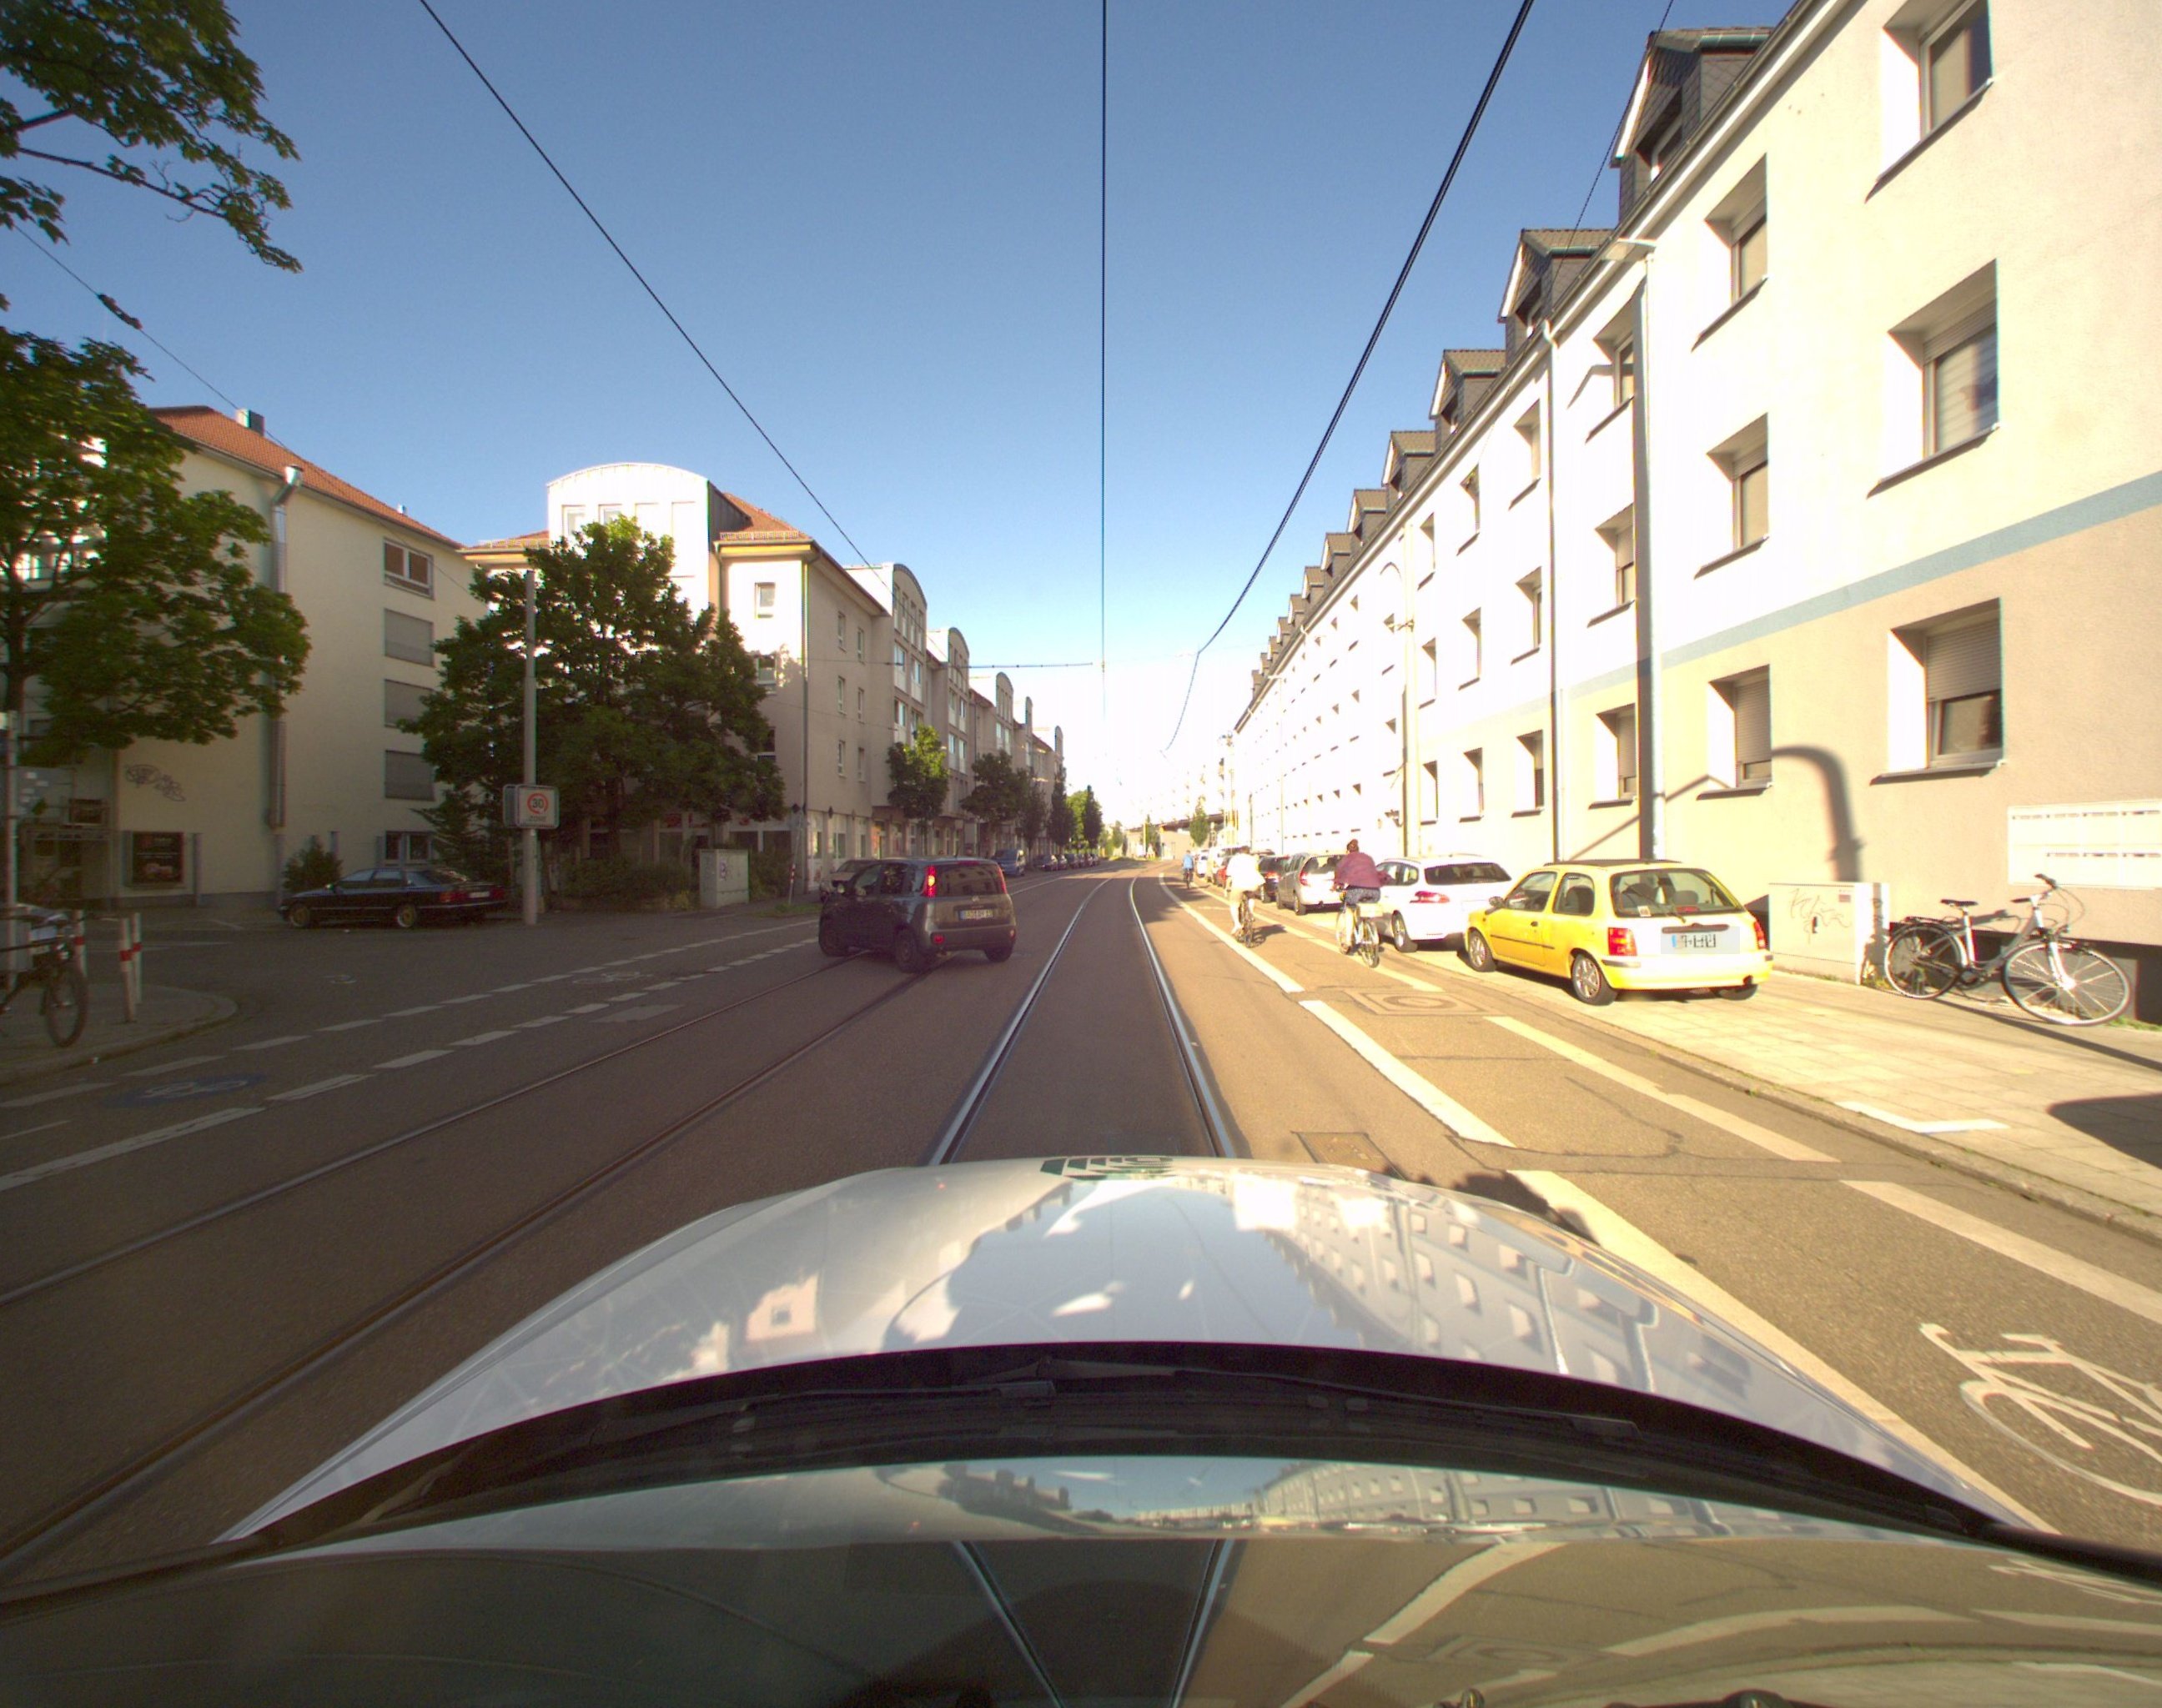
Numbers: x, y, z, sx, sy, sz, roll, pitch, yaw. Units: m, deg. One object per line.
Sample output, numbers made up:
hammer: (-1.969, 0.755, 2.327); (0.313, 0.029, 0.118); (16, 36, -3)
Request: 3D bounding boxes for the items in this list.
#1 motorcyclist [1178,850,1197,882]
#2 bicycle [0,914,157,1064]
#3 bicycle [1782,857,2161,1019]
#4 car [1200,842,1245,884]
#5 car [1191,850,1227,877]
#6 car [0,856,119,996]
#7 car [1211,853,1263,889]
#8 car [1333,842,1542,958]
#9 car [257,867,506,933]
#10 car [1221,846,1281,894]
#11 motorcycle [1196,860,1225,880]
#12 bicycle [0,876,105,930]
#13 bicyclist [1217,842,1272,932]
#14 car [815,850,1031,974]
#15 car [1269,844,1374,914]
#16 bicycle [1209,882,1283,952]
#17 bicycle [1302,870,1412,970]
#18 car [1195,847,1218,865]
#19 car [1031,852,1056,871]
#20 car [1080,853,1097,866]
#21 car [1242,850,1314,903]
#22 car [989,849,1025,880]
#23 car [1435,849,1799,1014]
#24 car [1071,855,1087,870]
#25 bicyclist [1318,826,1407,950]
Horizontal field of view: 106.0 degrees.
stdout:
motorcyclist: (4.778, 0.522, 36.592); (0.725, 1.405, 1.021); (-1, 0, 1)
bicycle: (-8.581, 1.053, 6.475); (1.868, 1.084, 0.596); (-1, 0, 3)
bicycle: (7.878, 0.645, 7.367); (1.092, 1.197, 2.328); (-1, 0, 1)
car: (7.150, 0.434, 41.548); (1.779, 1.970, 4.159); (-2, 0, 4)
car: (8.306, 0.598, 53.067); (1.836, 1.646, 4.553); (-1, 0, 3)
car: (-15.173, 0.938, 10.253); (3.968, 1.659, 1.912); (-1, 2, 4)
car: (6.992, 0.726, 36.832); (1.788, 1.483, 3.782); (-1, 0, 3)
car: (5.729, 0.640, 13.753); (1.673, 1.571, 4.512); (-2, 0, 2)
car: (-16.119, 1.047, 18.878); (4.531, 1.388, 1.717); (-1, -1, 6)
car: (6.559, 0.577, 31.791); (1.653, 1.669, 3.907); (-4, 0, 3)
motorcycle: (7.475, 0.912, 47.101); (0.494, 1.144, 1.751); (-1, 0, -37)
bicycle: (-26.513, 1.233, 20.888); (0.724, 1.165, 1.981); (-1, 3, -8)
bicyclist: (2.751, 0.532, 13.792); (0.725, 1.462, 1.021); (-1, 0, 1)
car: (-2.397, 0.742, 11.841); (1.570, 1.533, 3.445); (1, -1, -41)
car: (6.228, 0.598, 21.515); (1.747, 1.571, 3.908); (-4, 0, 4)
bicycle: (2.730, 1.015, 13.832); (0.736, 0.924, 2.837); (2, 0, 2)
bicycle: (3.908, 0.880, 11.774); (0.818, 1.236, 2.463); (1, 0, 2)
car: (12.428, 0.170, 81.107); (1.836, 1.756, 4.553); (-1, 0, 3)
car: (-3.253, 0.606, 70.705); (1.657, 1.618, 4.005); (-1, 0, 4)
car: (0.964, 0.656, 100.510); (1.836, 1.646, 3.701); (-1, 0, 3)
car: (6.351, 0.673, 26.615); (1.584, 1.537, 4.012); (-3, 0, 4)
car: (-4.948, 0.644, 54.823); (1.657, 1.986, 4.348); (-1, 0, 4)
car: (5.694, 0.687, 9.376); (1.508, 1.430, 4.203); (-2, 0, 2)
car: (-0.207, 0.923, 89.335); (1.585, 1.540, 3.194); (-1, 0, 3)
bicyclist: (3.965, 0.461, 11.551); (0.931, 1.676, 0.970); (-1, 0, 1)
